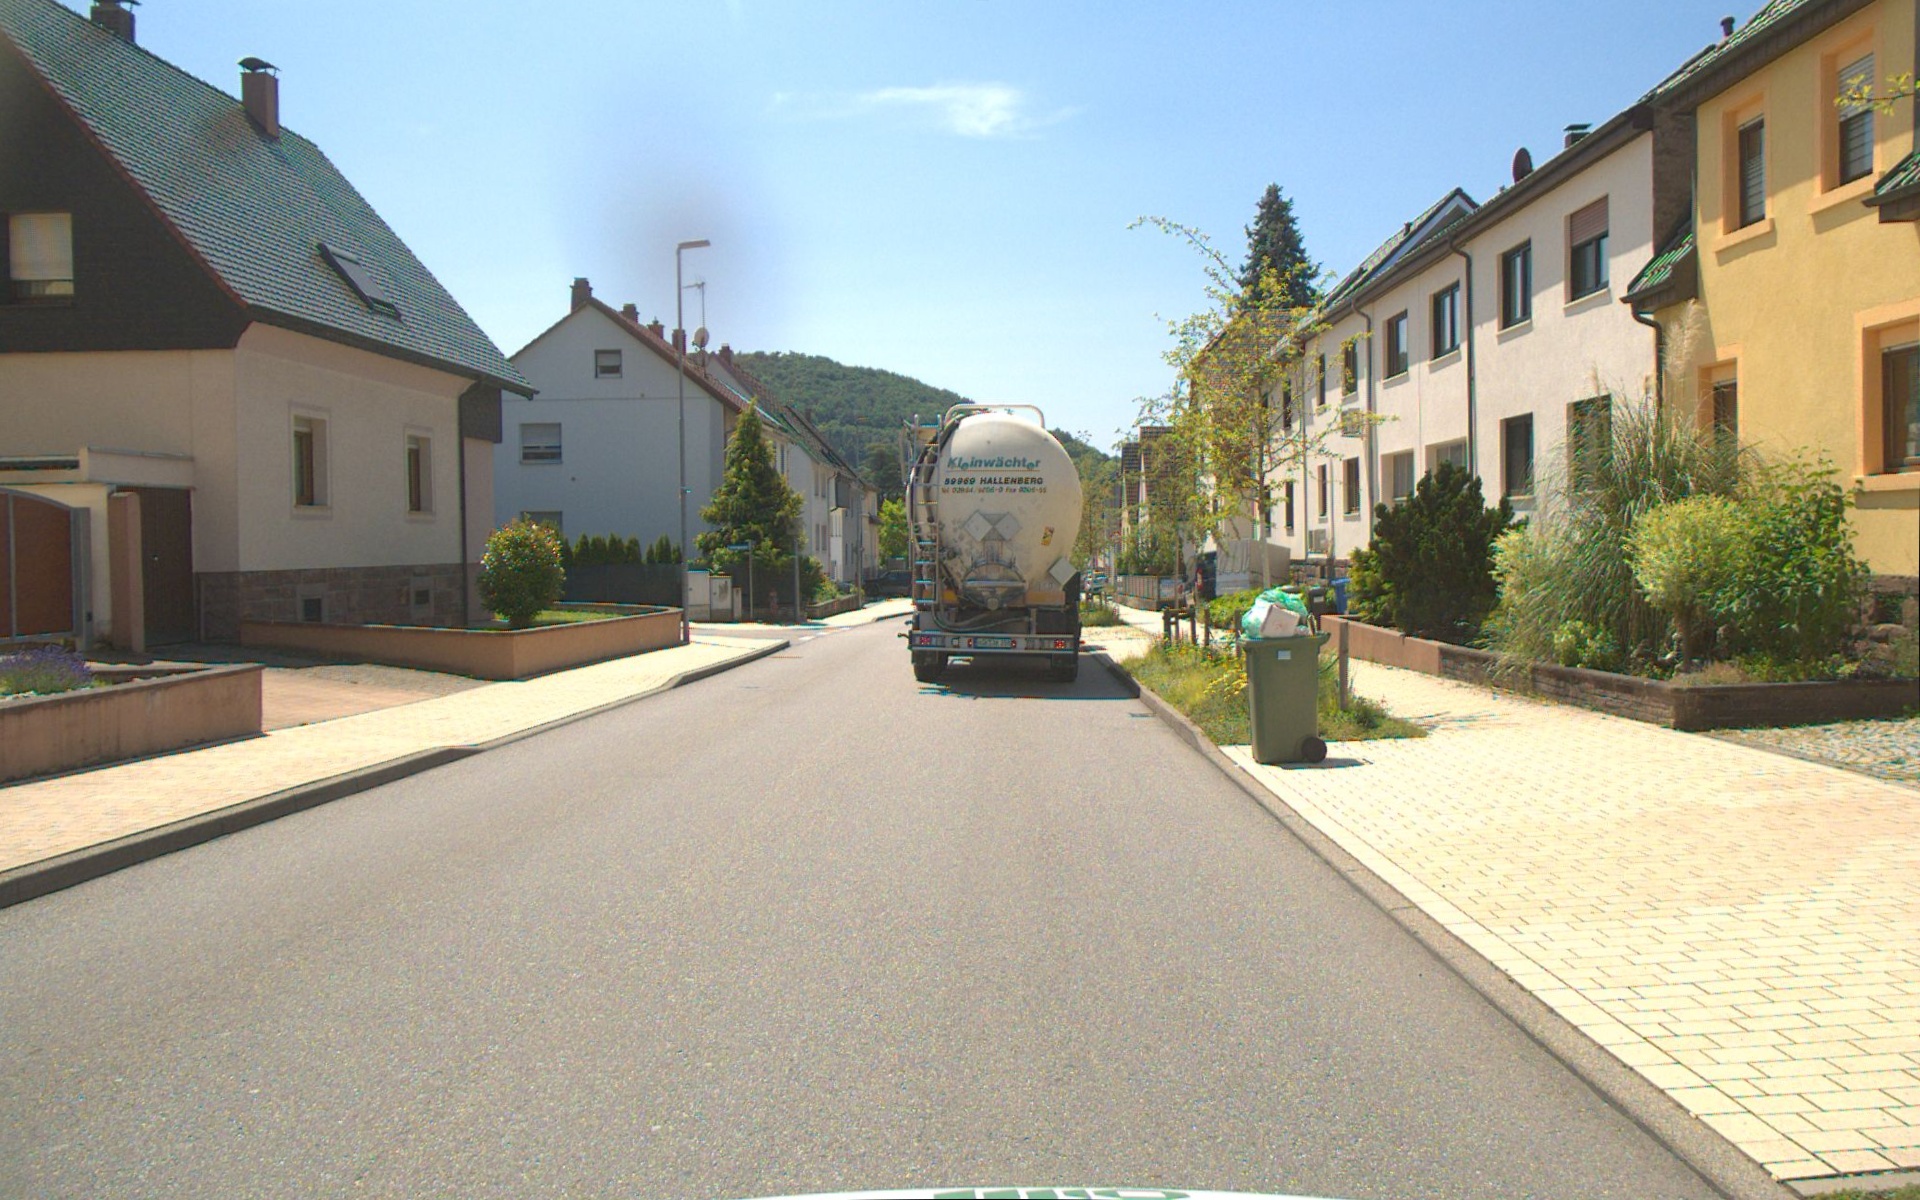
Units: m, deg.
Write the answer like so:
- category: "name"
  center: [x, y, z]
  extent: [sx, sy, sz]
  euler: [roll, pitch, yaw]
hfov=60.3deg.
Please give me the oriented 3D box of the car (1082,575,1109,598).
- category: "car"
  center: [9.867, -0.987, 120.349]
  extent: [1.753, 1.568, 4.521]
  euler: [-3, 0, 3]

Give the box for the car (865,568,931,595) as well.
- category: "car"
  center: [-4.132, -1.228, 110.186]
  extent: [4.304, 1.781, 1.878]
  euler: [0, 1, 1]

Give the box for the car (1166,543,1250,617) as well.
- category: "car"
  center: [7.724, -0.619, 51.873]
  extent: [1.815, 2.004, 4.774]
  euler: [-6, 0, 1]

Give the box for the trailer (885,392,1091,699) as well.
- category: "trailer"
  center: [0.566, -0.832, 27.166]
  extent: [2.738, 4.070, 10.328]
  euler: [0, 1, 2]

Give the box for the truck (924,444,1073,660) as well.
- category: "truck"
  center: [0.839, -0.949, 33.937]
  extent: [2.750, 4.005, 6.101]
  euler: [1, 1, 2]

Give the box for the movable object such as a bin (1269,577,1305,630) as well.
- category: "movable object such as a bin"
  center: [7.440, 0.071, 37.664]
  extent: [0.669, 1.134, 0.813]
  euler: [-4, 0, 7]

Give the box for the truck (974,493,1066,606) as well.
- category: "truck"
  center: [2.731, -2.350, 79.412]
  extent: [3.830, 4.980, 9.795]
  euler: [-2, 1, -1]

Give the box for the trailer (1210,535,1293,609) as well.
- category: "trailer"
  center: [8.284, -0.789, 46.939]
  extent: [1.302, 2.049, 2.258]
  euler: [1, 1, 44]

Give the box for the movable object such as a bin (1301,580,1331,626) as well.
- category: "movable object such as a bin"
  center: [8.120, 0.062, 37.758]
  extent: [0.546, 1.003, 0.803]
  euler: [-5, 0, 8]

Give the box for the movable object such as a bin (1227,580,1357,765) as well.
- category: "movable object such as a bin"
  center: [2.729, 0.577, 13.694]
  extent: [0.776, 1.419, 0.925]
  euler: [-5, 0, -1]

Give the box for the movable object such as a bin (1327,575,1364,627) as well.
- category: "movable object such as a bin"
  center: [8.783, 0.008, 37.669]
  extent: [0.670, 1.125, 0.863]
  euler: [-4, 0, 8]
